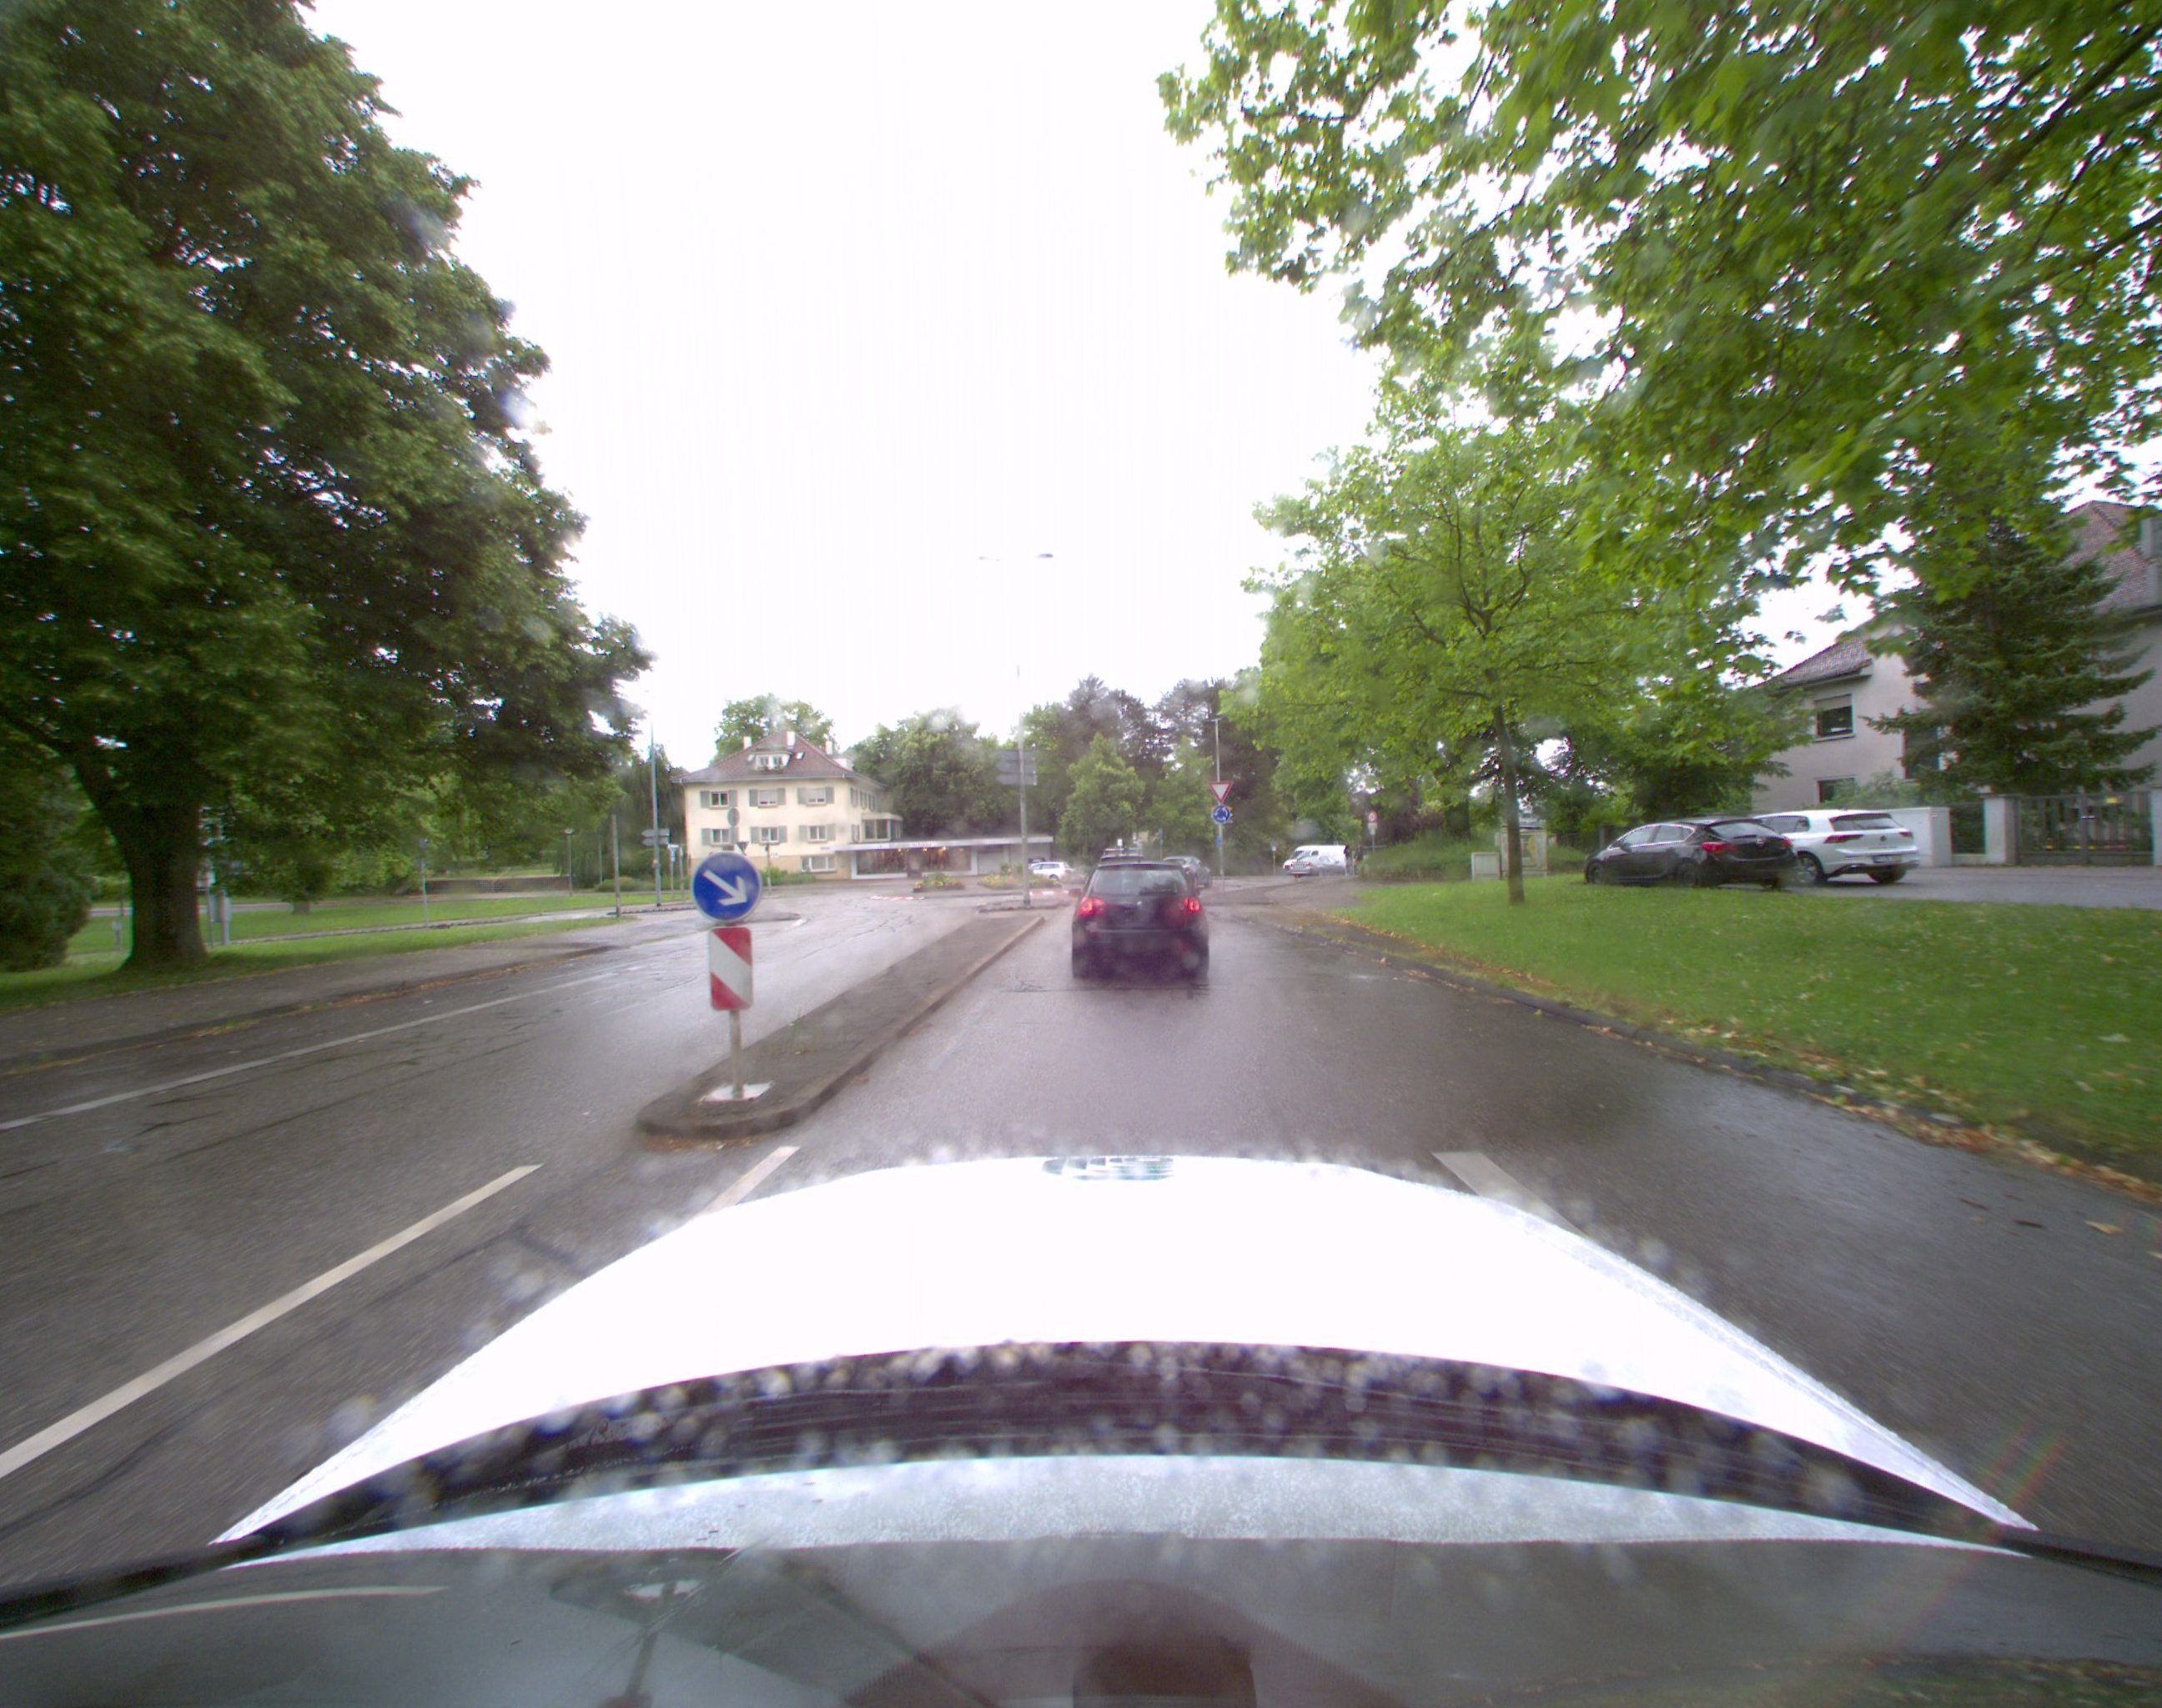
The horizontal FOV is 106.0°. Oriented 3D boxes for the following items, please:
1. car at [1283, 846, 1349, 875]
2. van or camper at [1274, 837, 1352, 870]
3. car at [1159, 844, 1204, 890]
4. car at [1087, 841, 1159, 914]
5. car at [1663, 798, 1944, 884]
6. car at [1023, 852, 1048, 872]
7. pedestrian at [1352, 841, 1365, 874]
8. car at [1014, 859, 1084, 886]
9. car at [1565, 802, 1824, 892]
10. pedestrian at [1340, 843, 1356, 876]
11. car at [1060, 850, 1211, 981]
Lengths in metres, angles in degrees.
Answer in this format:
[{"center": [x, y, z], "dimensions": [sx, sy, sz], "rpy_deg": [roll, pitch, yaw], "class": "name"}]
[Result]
[{"center": [14.077, 0.375, 48.665], "dimensions": [4.055, 1.684, 1.976], "rpy_deg": [0, -1, -43], "class": "car"}, {"center": [17.571, -0.031, 61.612], "dimensions": [5.682, 2.378, 2.181], "rpy_deg": [0, -1, -27], "class": "van or camper"}, {"center": [4.381, 0.542, 35.755], "dimensions": [1.756, 1.801, 4.253], "rpy_deg": [-3, -1, 6], "class": "car"}, {"center": [1.099, 0.626, 23.265], "dimensions": [1.759, 1.801, 4.245], "rpy_deg": [-3, -1, 0], "class": "car"}, {"center": [14.697, -0.207, 16.994], "dimensions": [1.840, 1.471, 4.423], "rpy_deg": [-3, -1, -1], "class": "car"}, {"center": [-3.654, 0.640, 65.241], "dimensions": [1.810, 1.486, 3.823], "rpy_deg": [-3, 0, -6], "class": "car"}, {"center": [14.761, 0.201, 43.295], "dimensions": [0.629, 1.713, 0.532], "rpy_deg": [-1, -1, 17], "class": "pedestrian"}, {"center": [-2.103, 1.203, 53.321], "dimensions": [4.090, 1.741, 2.013], "rpy_deg": [-1, -1, 33], "class": "car"}, {"center": [12.246, -0.101, 16.735], "dimensions": [1.759, 1.471, 4.597], "rpy_deg": [-4, -1, 0], "class": "car"}, {"center": [14.003, 0.282, 42.658], "dimensions": [0.529, 1.713, 0.633], "rpy_deg": [0, -1, -13], "class": "pedestrian"}, {"center": [0.881, 0.741, 11.619], "dimensions": [1.755, 1.538, 4.008], "rpy_deg": [-1, 0, 7], "class": "car"}]
